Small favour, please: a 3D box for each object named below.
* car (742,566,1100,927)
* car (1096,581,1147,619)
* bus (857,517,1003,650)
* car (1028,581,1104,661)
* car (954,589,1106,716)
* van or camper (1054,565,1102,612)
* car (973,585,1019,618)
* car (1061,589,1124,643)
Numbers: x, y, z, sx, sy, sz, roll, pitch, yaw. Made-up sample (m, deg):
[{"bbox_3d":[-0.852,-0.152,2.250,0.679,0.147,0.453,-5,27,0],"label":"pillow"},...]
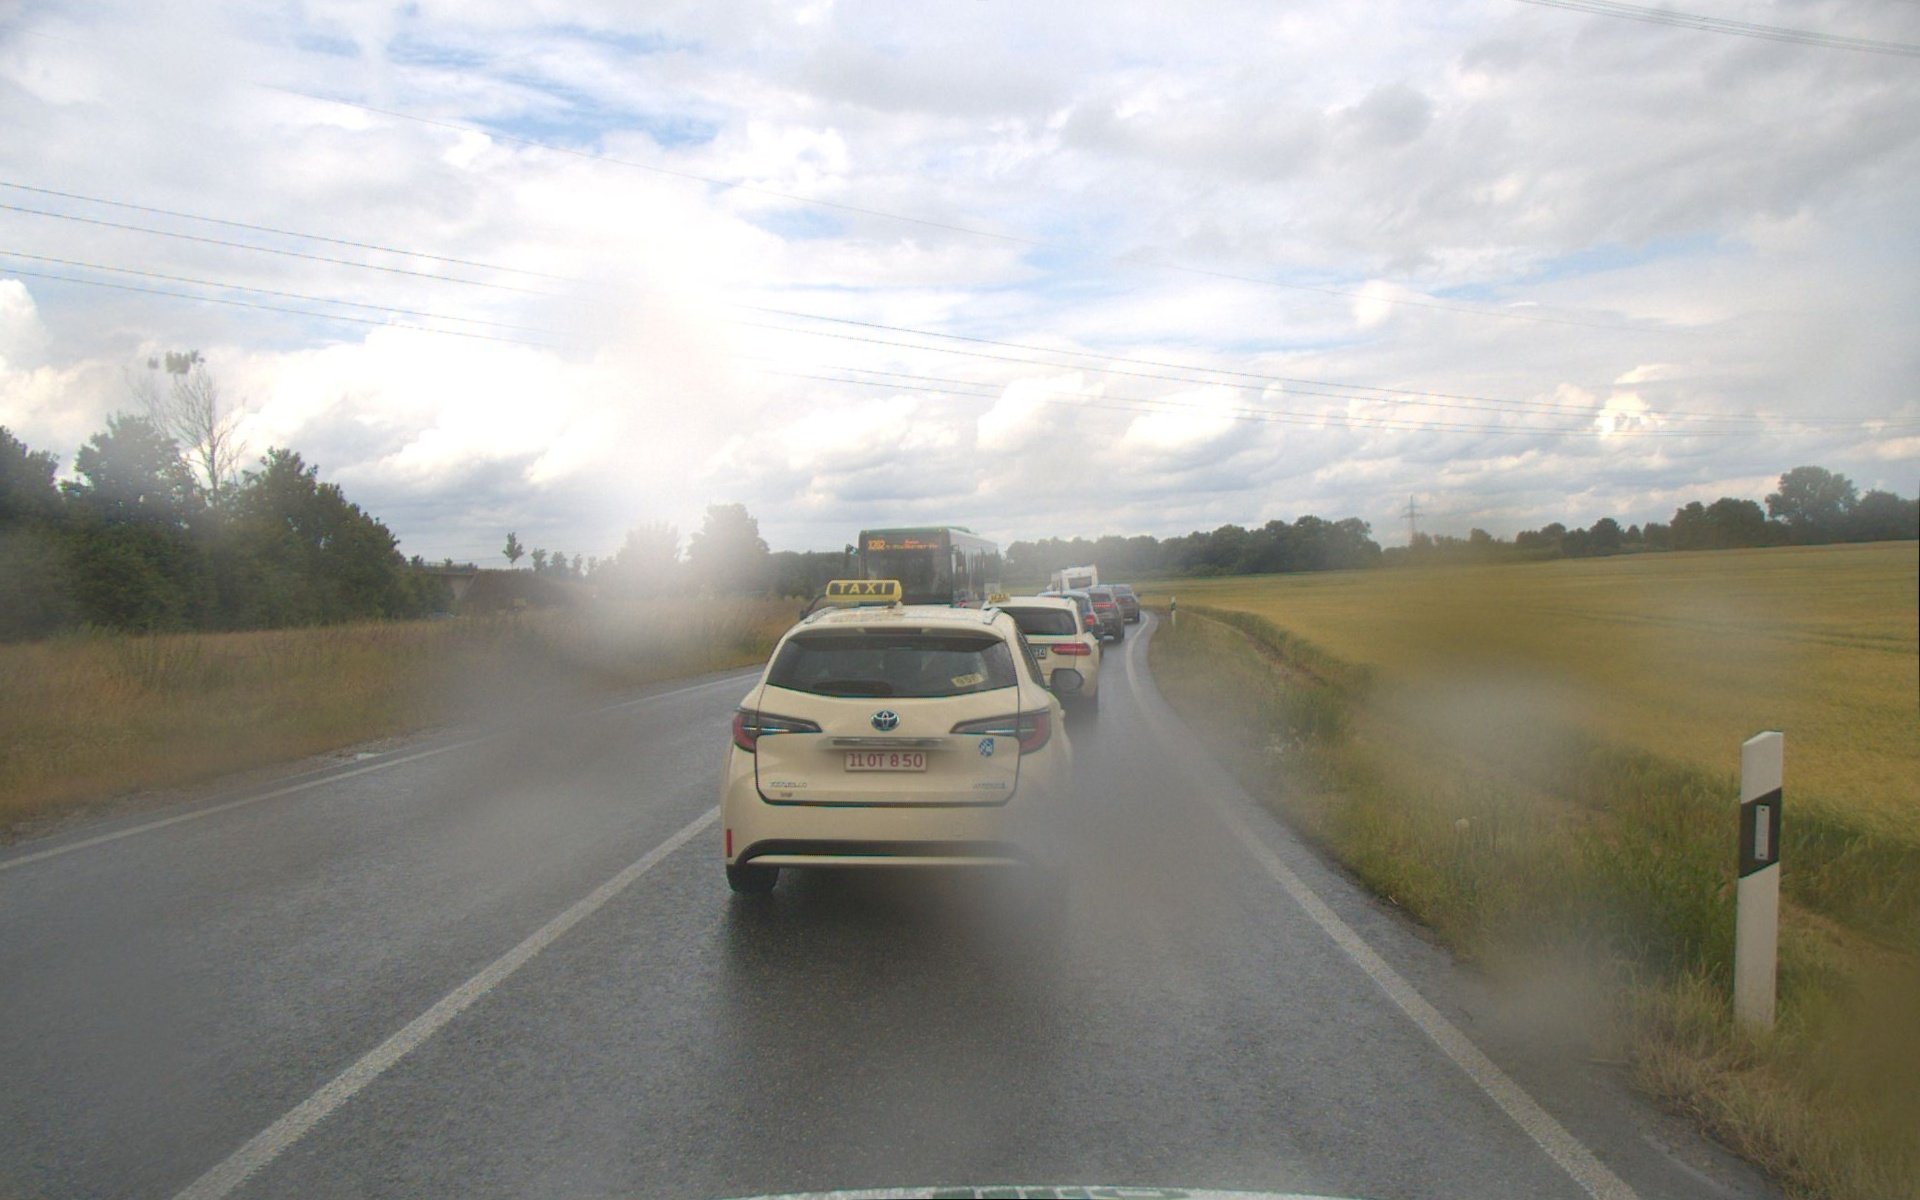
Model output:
[{"bbox_3d":[-0.118,0.676,9.202,1.579,1.590,3.739,0,-1,2],"label":"car"},{"bbox_3d":[6.467,0.006,66.061,1.918,1.438,4.395,0,-1,7],"label":"car"},{"bbox_3d":[-0.596,-0.443,48.065,2.699,3.355,12.511,0,0,6],"label":"bus"},{"bbox_3d":[2.368,0.468,36.567,1.579,1.688,3.740,0,-1,4],"label":"car"},{"bbox_3d":[1.041,0.624,22.286,1.802,1.518,4.611,0,0,5],"label":"car"},{"bbox_3d":[7.576,-0.727,106.969,2.485,2.946,6.741,0,0,-1],"label":"van or camper"},{"bbox_3d":[1.471,0.072,66.331,1.683,1.273,4.001,0,-1,3],"label":"car"},{"bbox_3d":[3.793,0.465,46.911,1.578,1.438,3.741,0,-1,8],"label":"car"}]
